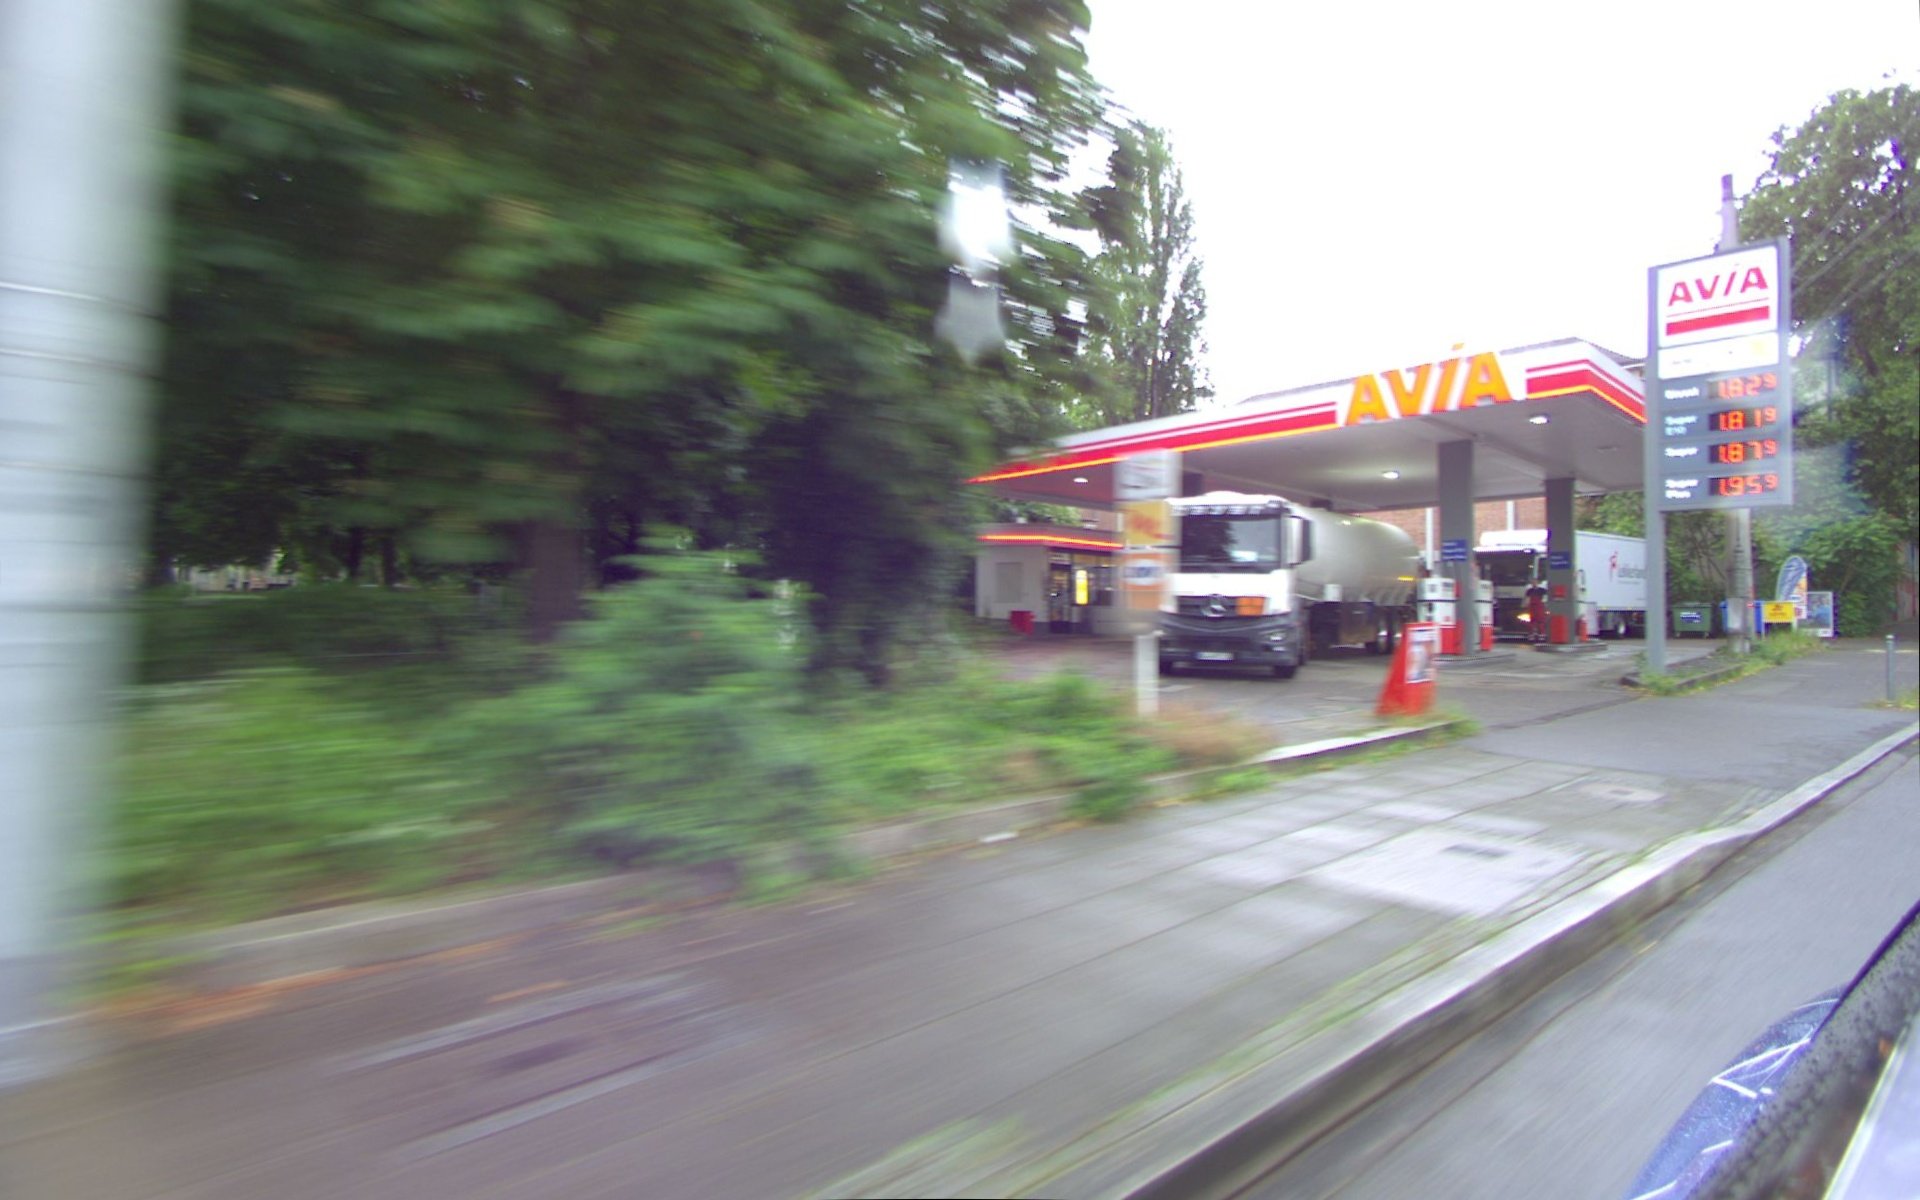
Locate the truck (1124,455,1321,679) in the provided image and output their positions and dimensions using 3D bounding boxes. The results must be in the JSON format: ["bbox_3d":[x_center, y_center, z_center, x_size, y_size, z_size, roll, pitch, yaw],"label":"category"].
[{"bbox_3d":[5.125,-0.579,18.905,2.804,3.442,6.080,1,1,22],"label":"truck"}]

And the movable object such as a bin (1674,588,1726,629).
[{"bbox_3d":[26.528,0.290,36.279,1.054,1.418,1.285,0,1,-40],"label":"movable object such as a bin"}]

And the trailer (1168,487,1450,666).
[{"bbox_3d":[8.637,-0.572,23.963,2.802,3.438,9.689,0,1,42],"label":"trailer"}]

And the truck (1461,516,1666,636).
[{"bbox_3d":[20.937,-0.838,34.764,10.070,3.613,2.660,-1,1,-38],"label":"truck"}]

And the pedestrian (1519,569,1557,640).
[{"bbox_3d":[17.212,0.129,30.137,0.640,2.066,0.809,0,0,-41],"label":"pedestrian"}]
